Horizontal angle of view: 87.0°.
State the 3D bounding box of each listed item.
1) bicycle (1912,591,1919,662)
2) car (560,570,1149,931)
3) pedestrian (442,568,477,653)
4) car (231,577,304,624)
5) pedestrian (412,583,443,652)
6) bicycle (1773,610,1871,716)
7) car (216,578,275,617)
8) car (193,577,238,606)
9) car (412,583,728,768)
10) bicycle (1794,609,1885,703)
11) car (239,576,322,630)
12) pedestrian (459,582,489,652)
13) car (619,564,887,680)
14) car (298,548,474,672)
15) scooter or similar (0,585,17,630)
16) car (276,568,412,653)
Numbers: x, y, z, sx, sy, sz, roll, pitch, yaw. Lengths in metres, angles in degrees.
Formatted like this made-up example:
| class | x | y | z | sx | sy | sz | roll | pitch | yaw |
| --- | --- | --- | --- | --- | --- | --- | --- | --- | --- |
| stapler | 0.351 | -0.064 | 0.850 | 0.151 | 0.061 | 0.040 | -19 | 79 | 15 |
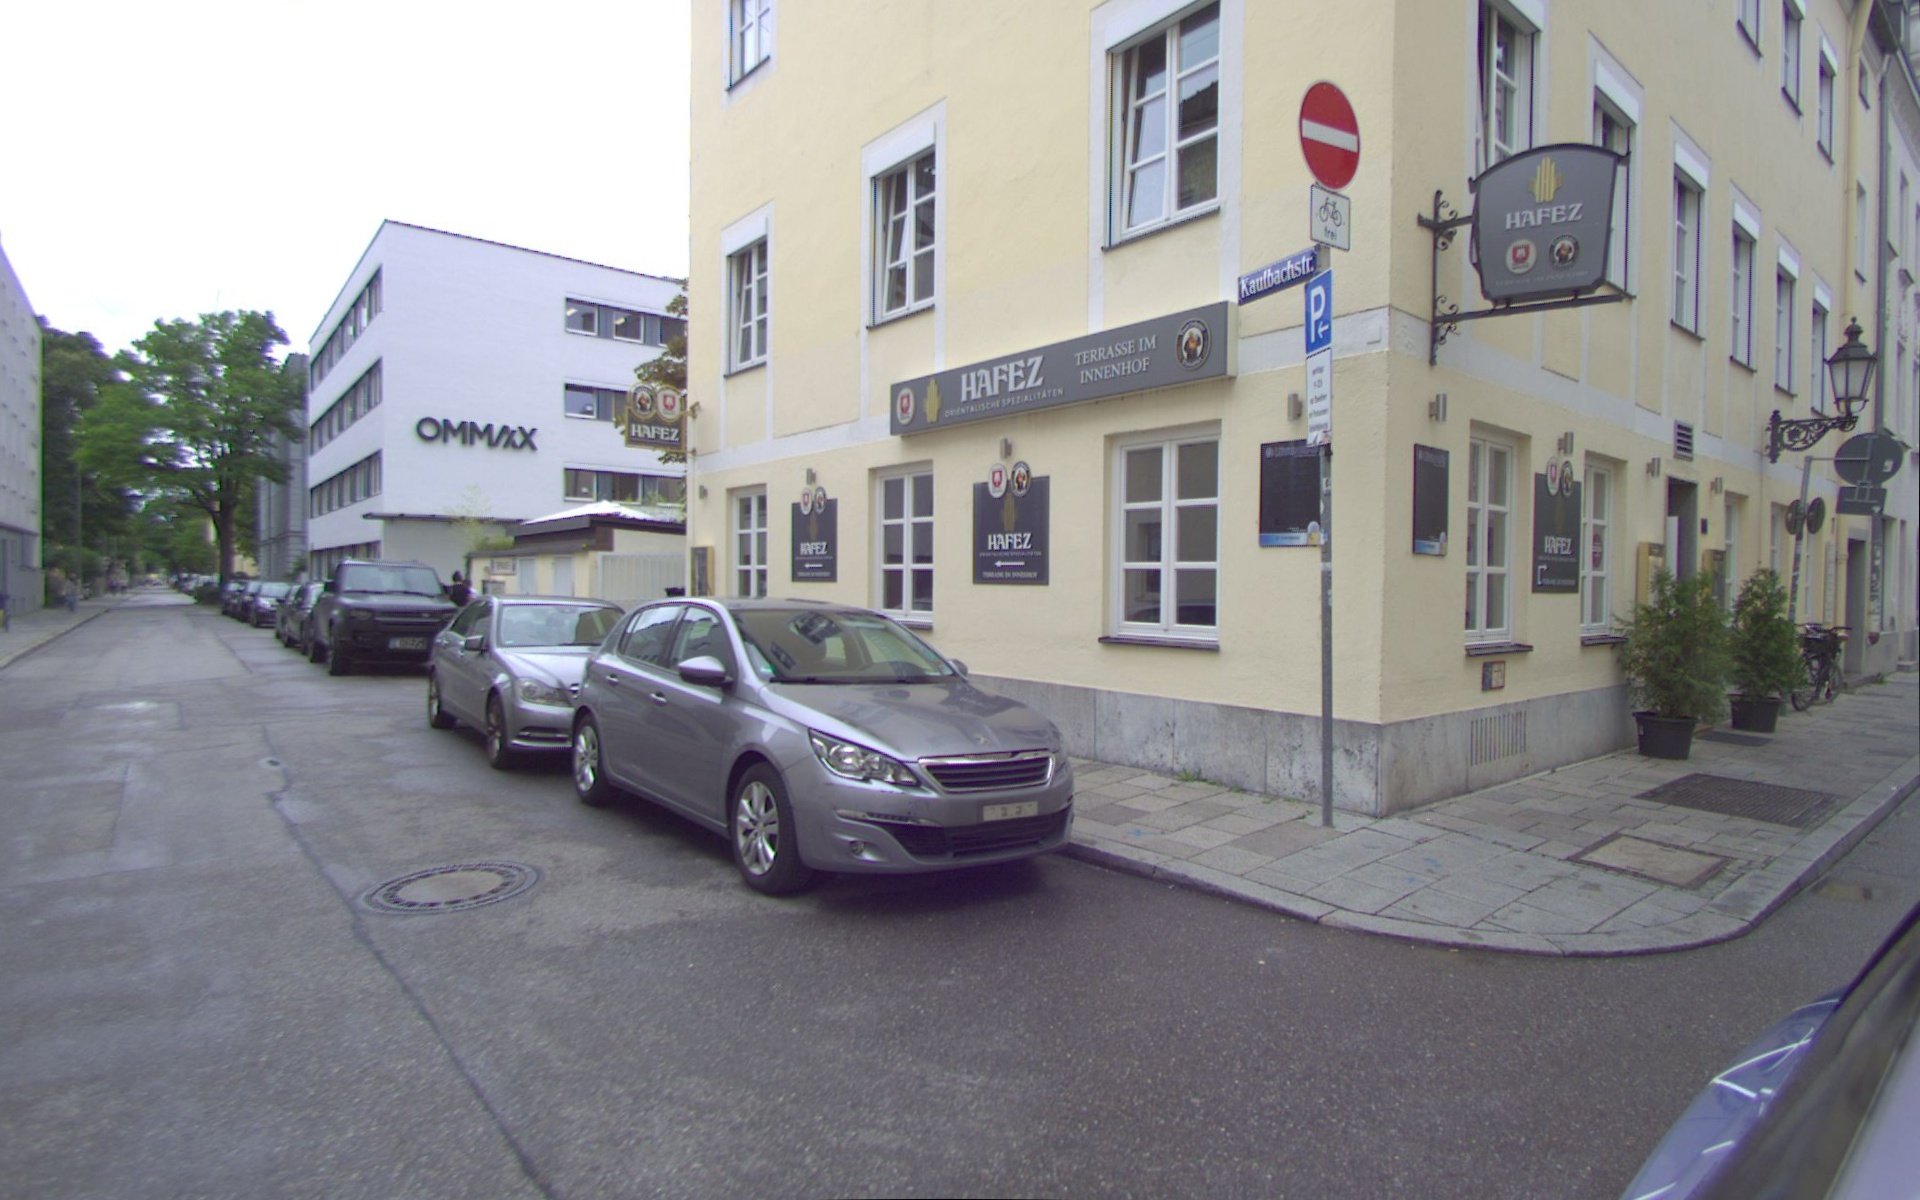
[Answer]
| class | x | y | z | sx | sy | sz | roll | pitch | yaw |
| --- | --- | --- | --- | --- | --- | --- | --- | --- | --- |
| bicycle | 20.224 | 0.546 | 20.701 | 2.083 | 1.413 | 0.715 | 0 | 3 | -38 |
| car | -0.955 | 0.627 | 6.246 | 1.732 | 1.459 | 4.025 | 3 | -1 | -38 |
| pedestrian | -10.166 | 0.200 | 20.547 | 0.548 | 1.705 | 0.518 | 0 | 1 | -37 |
| car | -26.570 | 0.018 | 38.758 | 2.052 | 1.651 | 4.717 | 3 | -1 | -37 |
| pedestrian | -10.920 | 0.349 | 20.764 | 0.481 | 1.385 | 0.518 | 0 | 1 | -37 |
| bicycle | 10.348 | 0.715 | 12.134 | 1.654 | 1.151 | 0.567 | 0 | 3 | -39 |
| car | -33.487 | -0.111 | 47.375 | 2.052 | 1.651 | 4.717 | 3 | -1 | -37 |
| car | -44.774 | -0.496 | 60.821 | 2.052 | 1.651 | 4.717 | 3 | -1 | -37 |
| car | -3.996 | 0.590 | 9.919 | 1.732 | 1.405 | 4.197 | 3 | -1 | -38 |
| bicycle | 11.901 | 0.713 | 13.678 | 1.952 | 1.151 | 0.567 | 0 | 3 | -39 |
| car | -23.143 | 0.093 | 34.404 | 2.052 | 1.651 | 4.717 | 3 | -1 | -37 |
| pedestrian | -10.246 | 0.341 | 21.334 | 0.481 | 1.439 | 0.518 | 0 | 1 | -37 |
| car | -3.310 | 0.303 | 16.556 | 3.929 | 1.671 | 1.807 | 0 | 0 | -40 |
| car | -10.165 | 0.173 | 17.739 | 2.052 | 1.869 | 4.717 | 3 | -1 | -37 |
| scooter or similar | -25.700 | 0.194 | 26.716 | 1.114 | 1.177 | 1.110 | 0 | 0 | -41 |
| car | -13.613 | 0.223 | 22.233 | 2.052 | 1.651 | 4.717 | 3 | -1 | -37 |
